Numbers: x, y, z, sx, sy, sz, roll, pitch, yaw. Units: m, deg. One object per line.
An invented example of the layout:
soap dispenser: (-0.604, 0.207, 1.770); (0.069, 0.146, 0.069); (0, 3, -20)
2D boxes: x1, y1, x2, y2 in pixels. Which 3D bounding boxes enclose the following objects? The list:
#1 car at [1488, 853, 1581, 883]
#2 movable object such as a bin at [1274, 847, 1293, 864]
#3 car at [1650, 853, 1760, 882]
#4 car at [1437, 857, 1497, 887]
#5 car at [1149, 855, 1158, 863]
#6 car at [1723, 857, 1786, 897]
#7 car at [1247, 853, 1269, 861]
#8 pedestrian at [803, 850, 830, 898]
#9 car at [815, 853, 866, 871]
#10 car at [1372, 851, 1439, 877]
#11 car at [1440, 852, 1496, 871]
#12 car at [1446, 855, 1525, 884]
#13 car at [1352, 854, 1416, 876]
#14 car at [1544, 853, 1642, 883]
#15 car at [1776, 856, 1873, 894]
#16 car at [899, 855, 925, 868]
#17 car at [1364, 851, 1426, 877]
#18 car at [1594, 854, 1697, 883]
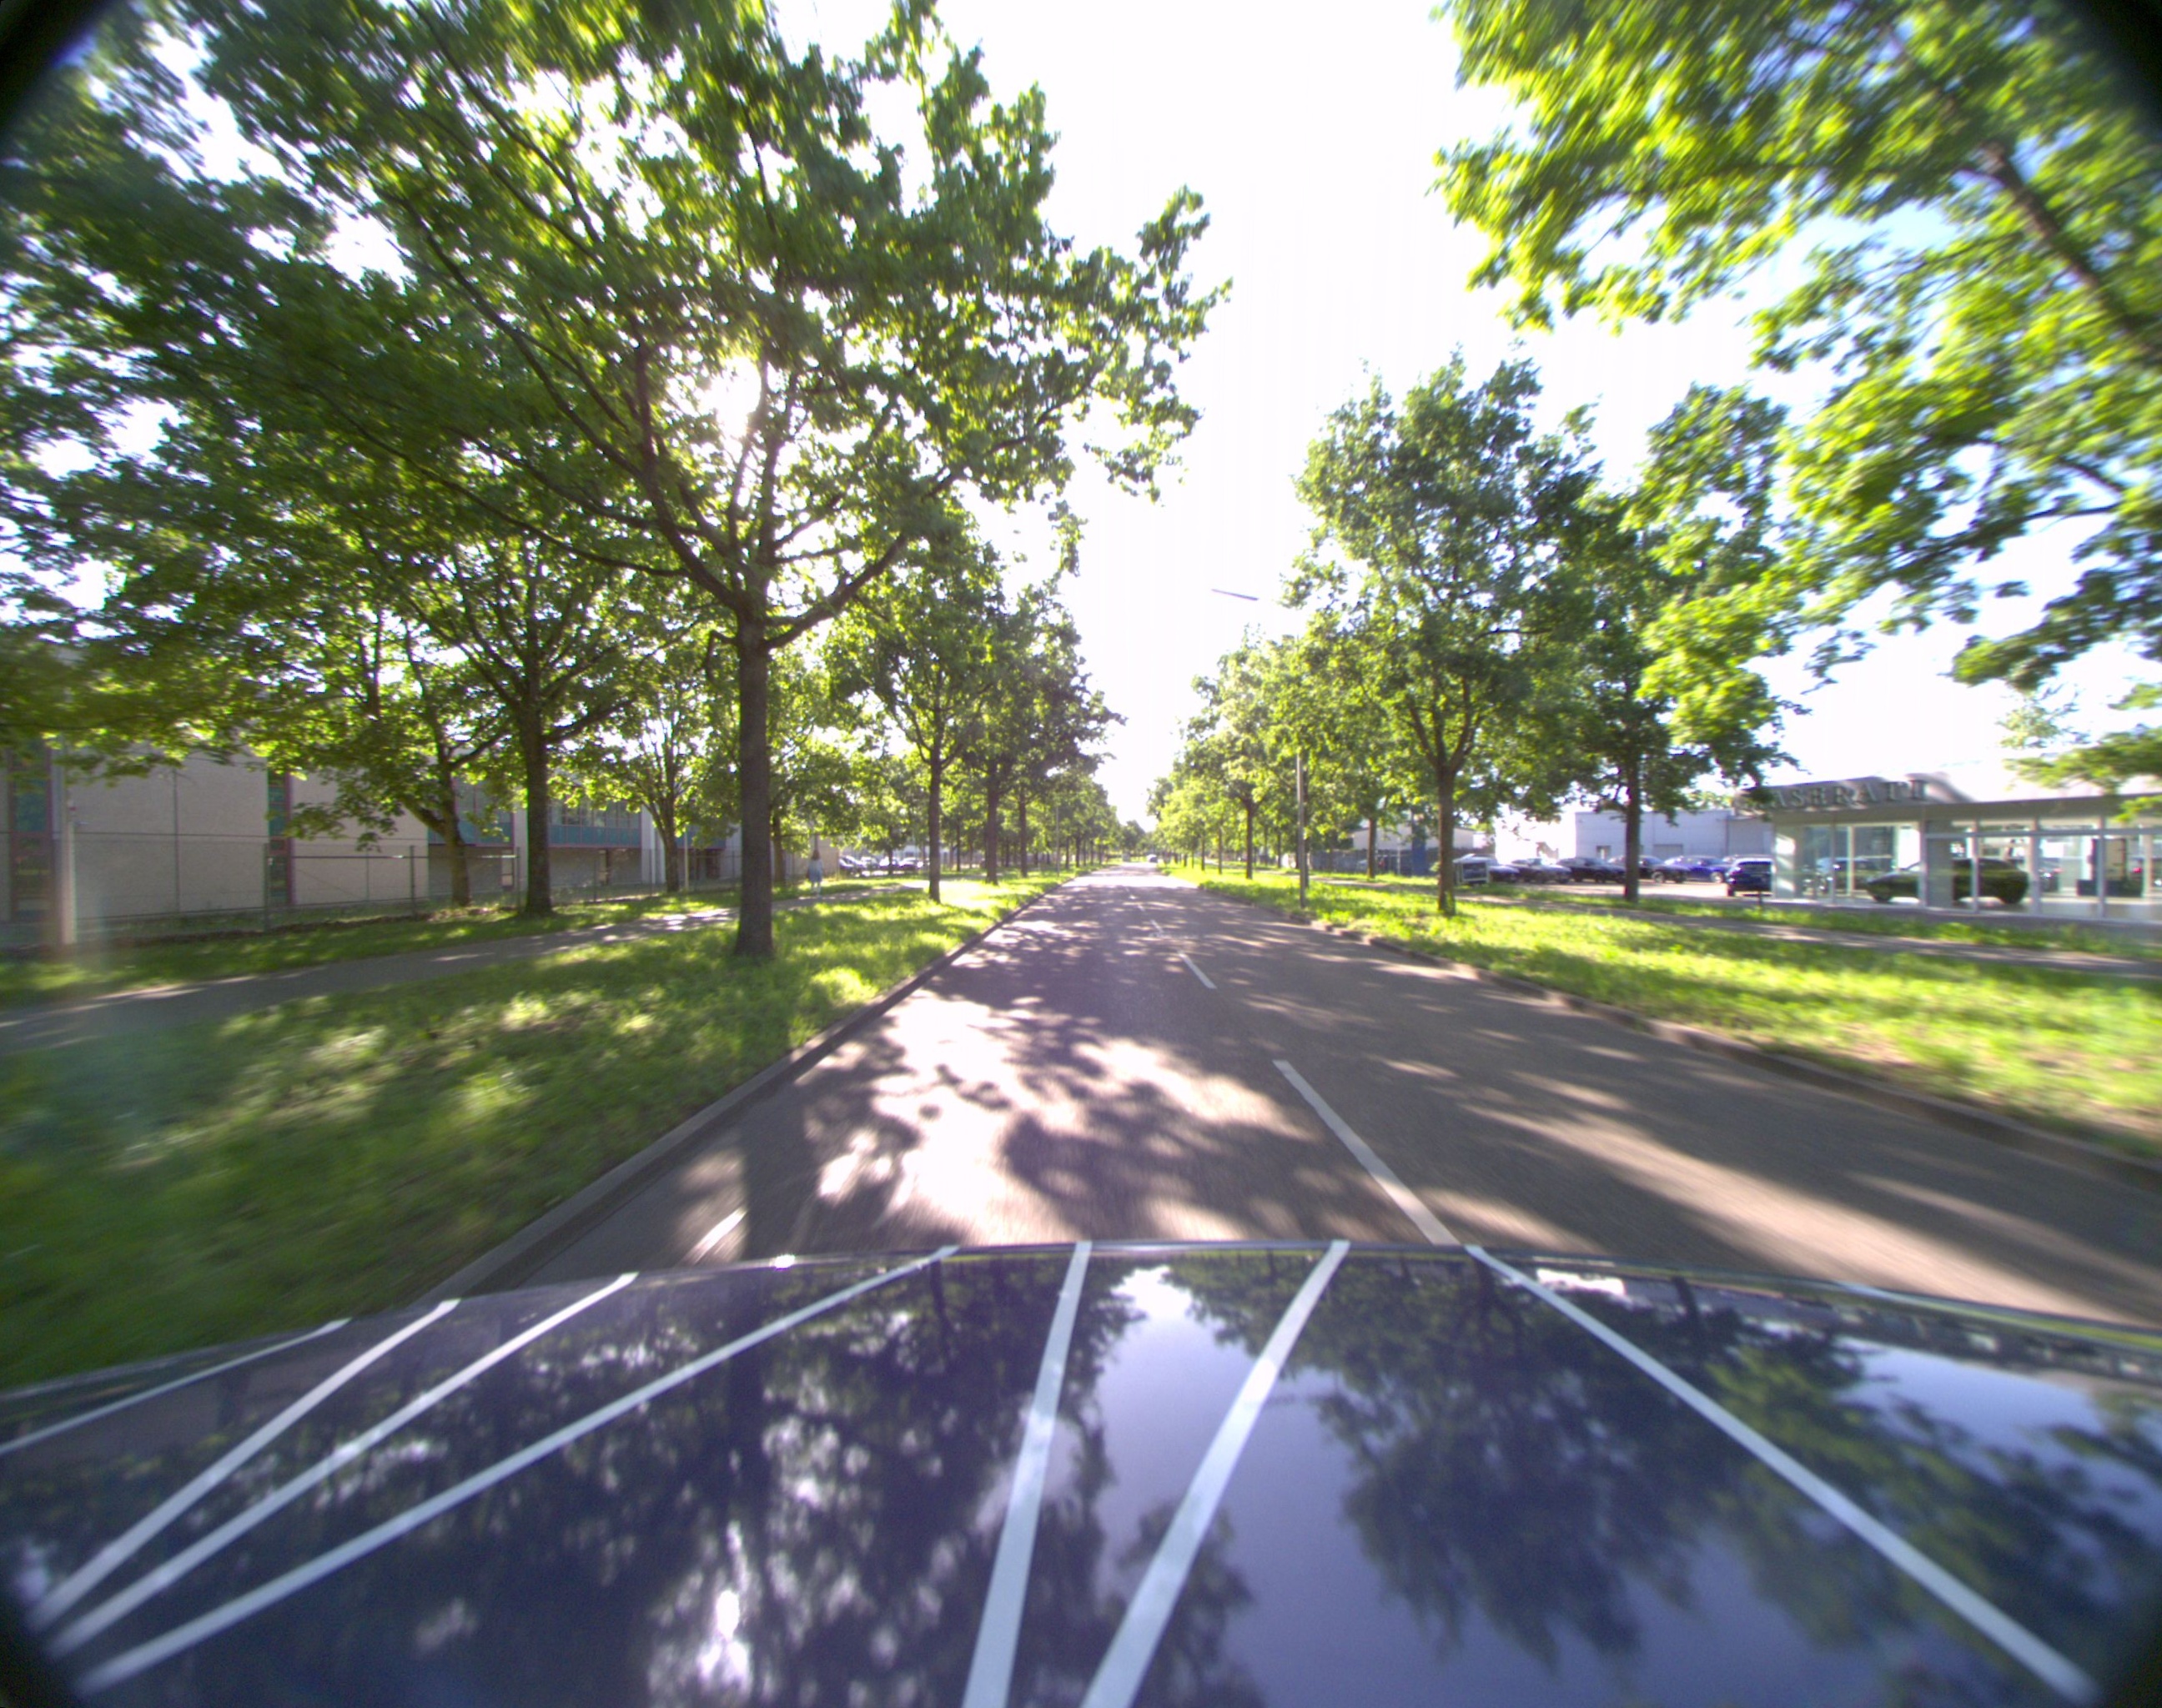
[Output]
car: (28.752, 0.866, 48.431); (2.000, 1.707, 5.254); (-2, 0, -12)
movable object such as a bin: (30.313, 0.214, 113.902); (1.997, 2.501, 4.237); (-2, 1, 7)
car: (38.853, 0.779, 47.525); (2.000, 1.651, 5.255); (-2, 0, -10)
car: (19.912, 0.915, 39.295); (2.570, 1.461, 1.427); (0, 0, 19)
car: (15.629, 1.113, 164.303); (1.771, 1.663, 4.200); (1, 1, 4)
car: (30.455, 0.994, 34.425); (1.994, 1.651, 5.271); (-2, -1, 41)
car: (35.888, 0.661, 154.149); (3.884, 1.493, 2.003); (-2, 1, 26)
pedestrian: (-9.223, 0.695, 26.511); (0.609, 1.621, 0.719); (2, 0, 3)
car: (-26.364, 0.885, 83.400); (5.075, 1.948, 1.895); (0, 1, 0)
car: (23.533, 0.705, 55.224); (3.995, 1.732, 2.001); (-2, 1, 6)
car: (33.971, 0.681, 66.837); (3.995, 1.510, 1.752); (-2, 1, 5)
car: (25.726, 0.961, 48.525); (2.001, 1.665, 4.494); (-2, 0, -13)
car: (24.211, 0.864, 60.811); (4.320, 1.510, 1.862); (-2, 1, 5)
car: (32.243, 0.825, 48.078); (2.000, 1.680, 5.255); (-2, 0, -10)
car: (34.409, 0.935, 35.330); (1.995, 1.651, 5.020); (-2, -1, 30)
car: (-21.441, 0.950, 96.508); (1.998, 1.550, 4.457); (-1, 0, 3)
car: (23.960, 0.760, 58.105); (3.995, 1.736, 1.862); (-2, 1, 5)
car: (35.526, 0.843, 48.009); (2.000, 1.651, 5.255); (-2, 0, -10)
